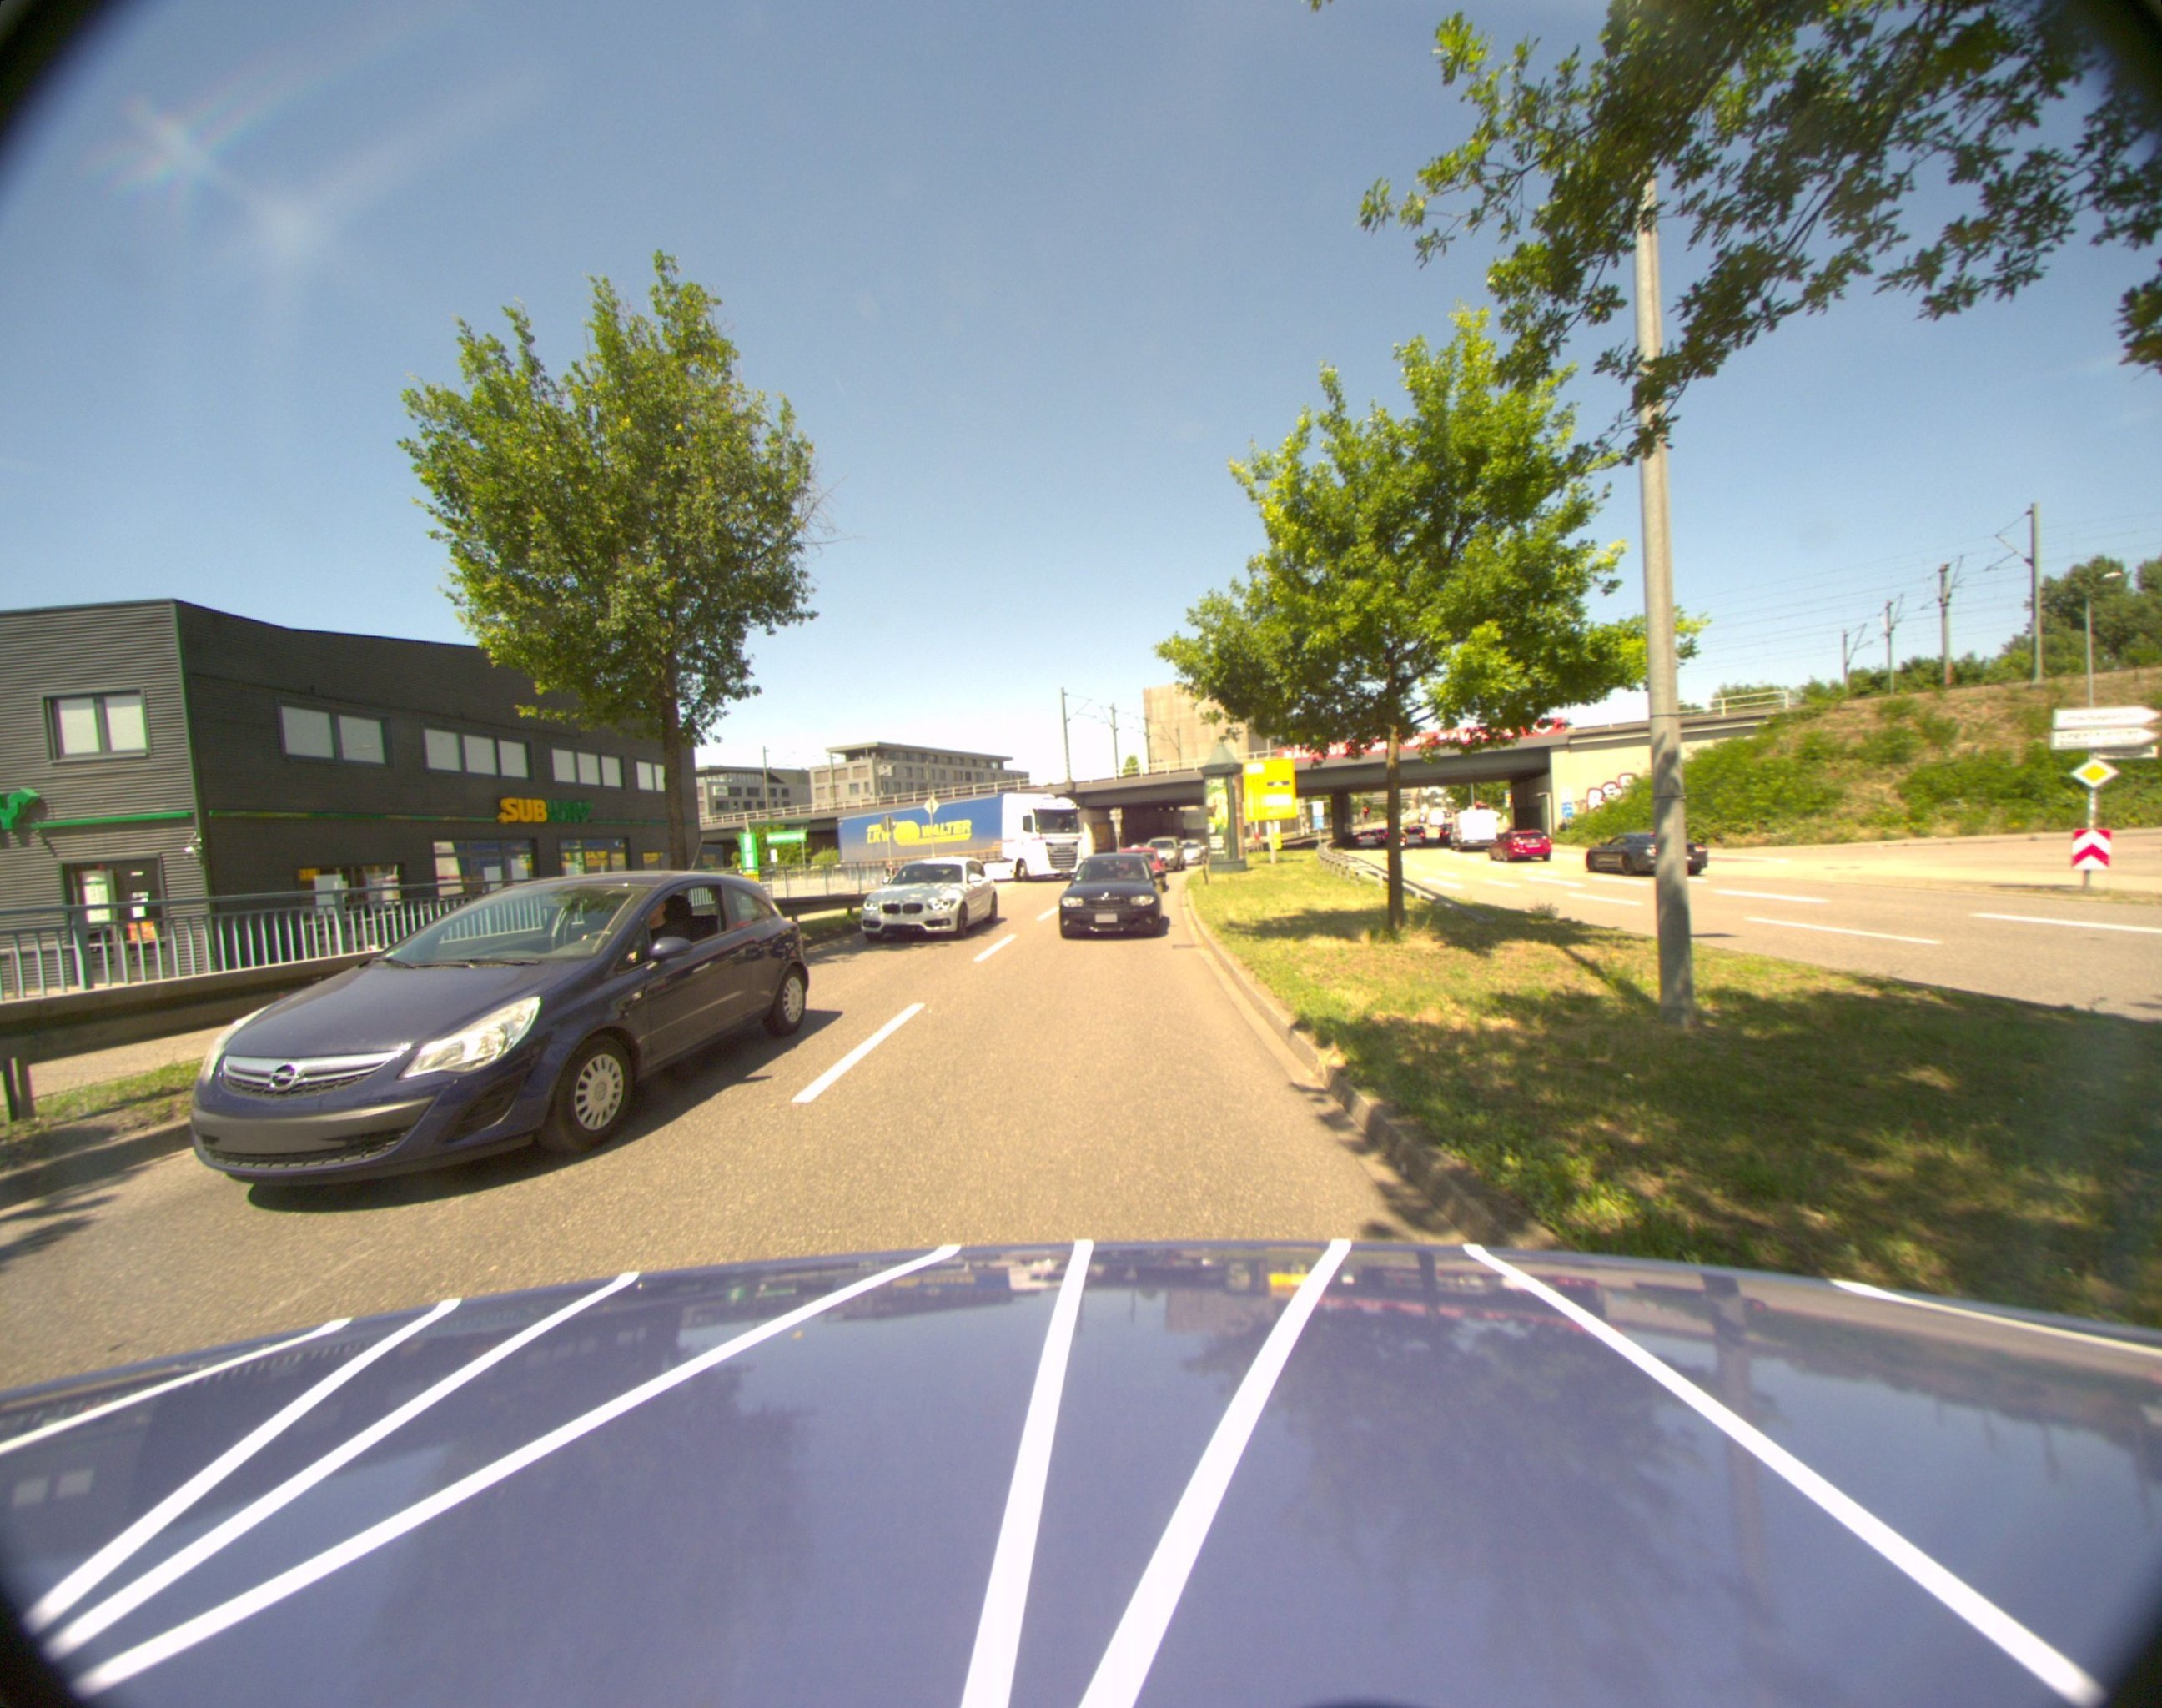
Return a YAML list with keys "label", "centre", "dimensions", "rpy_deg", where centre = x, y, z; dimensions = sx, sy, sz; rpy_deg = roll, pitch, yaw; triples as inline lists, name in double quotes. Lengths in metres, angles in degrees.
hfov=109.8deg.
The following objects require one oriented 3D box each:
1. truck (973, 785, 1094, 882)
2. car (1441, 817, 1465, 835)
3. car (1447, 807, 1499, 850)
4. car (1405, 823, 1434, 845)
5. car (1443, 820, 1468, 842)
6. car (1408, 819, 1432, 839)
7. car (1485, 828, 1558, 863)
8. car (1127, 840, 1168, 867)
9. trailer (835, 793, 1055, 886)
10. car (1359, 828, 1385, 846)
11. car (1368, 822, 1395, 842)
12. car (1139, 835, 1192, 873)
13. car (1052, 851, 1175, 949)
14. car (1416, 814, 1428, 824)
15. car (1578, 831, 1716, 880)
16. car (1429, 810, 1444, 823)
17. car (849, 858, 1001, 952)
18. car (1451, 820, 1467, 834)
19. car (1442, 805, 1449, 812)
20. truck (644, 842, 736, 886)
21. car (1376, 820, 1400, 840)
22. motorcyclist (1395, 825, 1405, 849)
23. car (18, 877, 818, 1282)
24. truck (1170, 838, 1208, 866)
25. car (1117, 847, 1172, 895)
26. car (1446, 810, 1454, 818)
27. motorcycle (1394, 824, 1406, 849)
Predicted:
- label: "truck"
  centre: [-2.302, -0.863, 34.942]
  dimensions: [2.580, 4.078, 5.747]
  rpy_deg: [-4, 2, -37]
- label: "car"
  centre: [34.025, -2.590, 69.414]
  dimensions: [1.571, 1.494, 3.412]
  rpy_deg: [-2, 2, 32]
- label: "car"
  centre: [24.813, -1.538, 48.339]
  dimensions: [2.096, 2.486, 5.817]
  rpy_deg: [-1, 0, 19]
- label: "car"
  centre: [26.146, -1.554, 58.619]
  dimensions: [1.635, 1.558, 4.079]
  rpy_deg: [-1, 1, 30]
- label: "car"
  centre: [31.432, -1.949, 63.753]
  dimensions: [1.773, 1.658, 4.021]
  rpy_deg: [-2, 1, 26]
- label: "car"
  centre: [34.481, -2.527, 77.236]
  dimensions: [1.904, 1.849, 4.006]
  rpy_deg: [-2, 2, 28]
- label: "car"
  centre: [20.632, -0.437, 35.775]
  dimensions: [1.833, 1.429, 4.529]
  rpy_deg: [-2, 2, 15]
- label: "car"
  centre: [4.215, -0.055, 47.602]
  dimensions: [1.714, 1.434, 4.004]
  rpy_deg: [-2, 2, 17]
- label: "trailer"
  centre: [-7.590, -0.553, 39.802]
  dimensions: [13.868, 4.067, 2.504]
  rpy_deg: [-3, 2, 38]
- label: "car"
  centre: [23.480, -1.401, 61.314]
  dimensions: [1.635, 1.395, 4.228]
  rpy_deg: [0, 2, 25]
- label: "car"
  centre: [29.201, -2.171, 73.781]
  dimensions: [1.904, 1.849, 4.006]
  rpy_deg: [-2, 2, 28]
- label: "car"
  centre: [4.299, -0.026, 38.257]
  dimensions: [1.843, 1.686, 3.703]
  rpy_deg: [-2, 2, 19]
- label: "car"
  centre: [0.764, 0.743, 14.258]
  dimensions: [1.680, 1.409, 4.058]
  rpy_deg: [-2, 2, 11]
- label: "car"
  centre: [70.269, -7.261, 156.497]
  dimensions: [1.995, 2.002, 4.006]
  rpy_deg: [-2, 2, 27]
- label: "car"
  centre: [18.048, -0.009, 24.508]
  dimensions: [1.812, 1.326, 4.572]
  rpy_deg: [-2, 2, 12]
- label: "car"
  centre: [60.120, -6.363, 128.520]
  dimensions: [1.995, 2.091, 6.391]
  rpy_deg: [-2, 2, 23]
- label: "car"
  centre: [-2.817, 0.873, 14.696]
  dimensions: [1.762, 1.435, 4.053]
  rpy_deg: [-1, 1, 5]
- label: "car"
  centre: [37.665, -2.704, 75.656]
  dimensions: [1.183, 1.241, 2.696]
  rpy_deg: [-2, 2, 32]
- label: "car"
  centre: [111.894, -13.870, 233.062]
  dimensions: [1.836, 2.002, 4.005]
  rpy_deg: [-2, 2, 25]
- label: "truck"
  centre: [-41.817, 0.807, 82.330]
  dimensions: [2.752, 4.080, 17.426]
  rpy_deg: [-3, 2, -7]
- label: "car"
  centre: [31.958, -2.517, 79.048]
  dimensions: [1.904, 1.849, 4.006]
  rpy_deg: [-2, 2, 28]
- label: "motorcyclist"
  centre: [22.186, -1.182, 52.822]
  dimensions: [0.587, 1.617, 0.563]
  rpy_deg: [-2, 2, 21]
- label: "car"
  centre: [-3.362, 0.983, 5.006]
  dimensions: [1.650, 1.436, 3.891]
  rpy_deg: [-2, 1, 3]
- label: "truck"
  centre: [6.560, -0.138, 45.911]
  dimensions: [1.729, 1.493, 4.003]
  rpy_deg: [-2, 2, 15]
- label: "car"
  centre: [2.099, 0.503, 25.261]
  dimensions: [1.646, 1.391, 4.053]
  rpy_deg: [-1, 1, 4]
- label: "car"
  centre: [99.871, -10.836, 205.626]
  dimensions: [1.836, 2.002, 4.005]
  rpy_deg: [-2, 2, 25]
- label: "motorcycle"
  centre: [22.235, -1.208, 52.993]
  dimensions: [0.598, 1.669, 2.428]
  rpy_deg: [-2, 2, 21]
